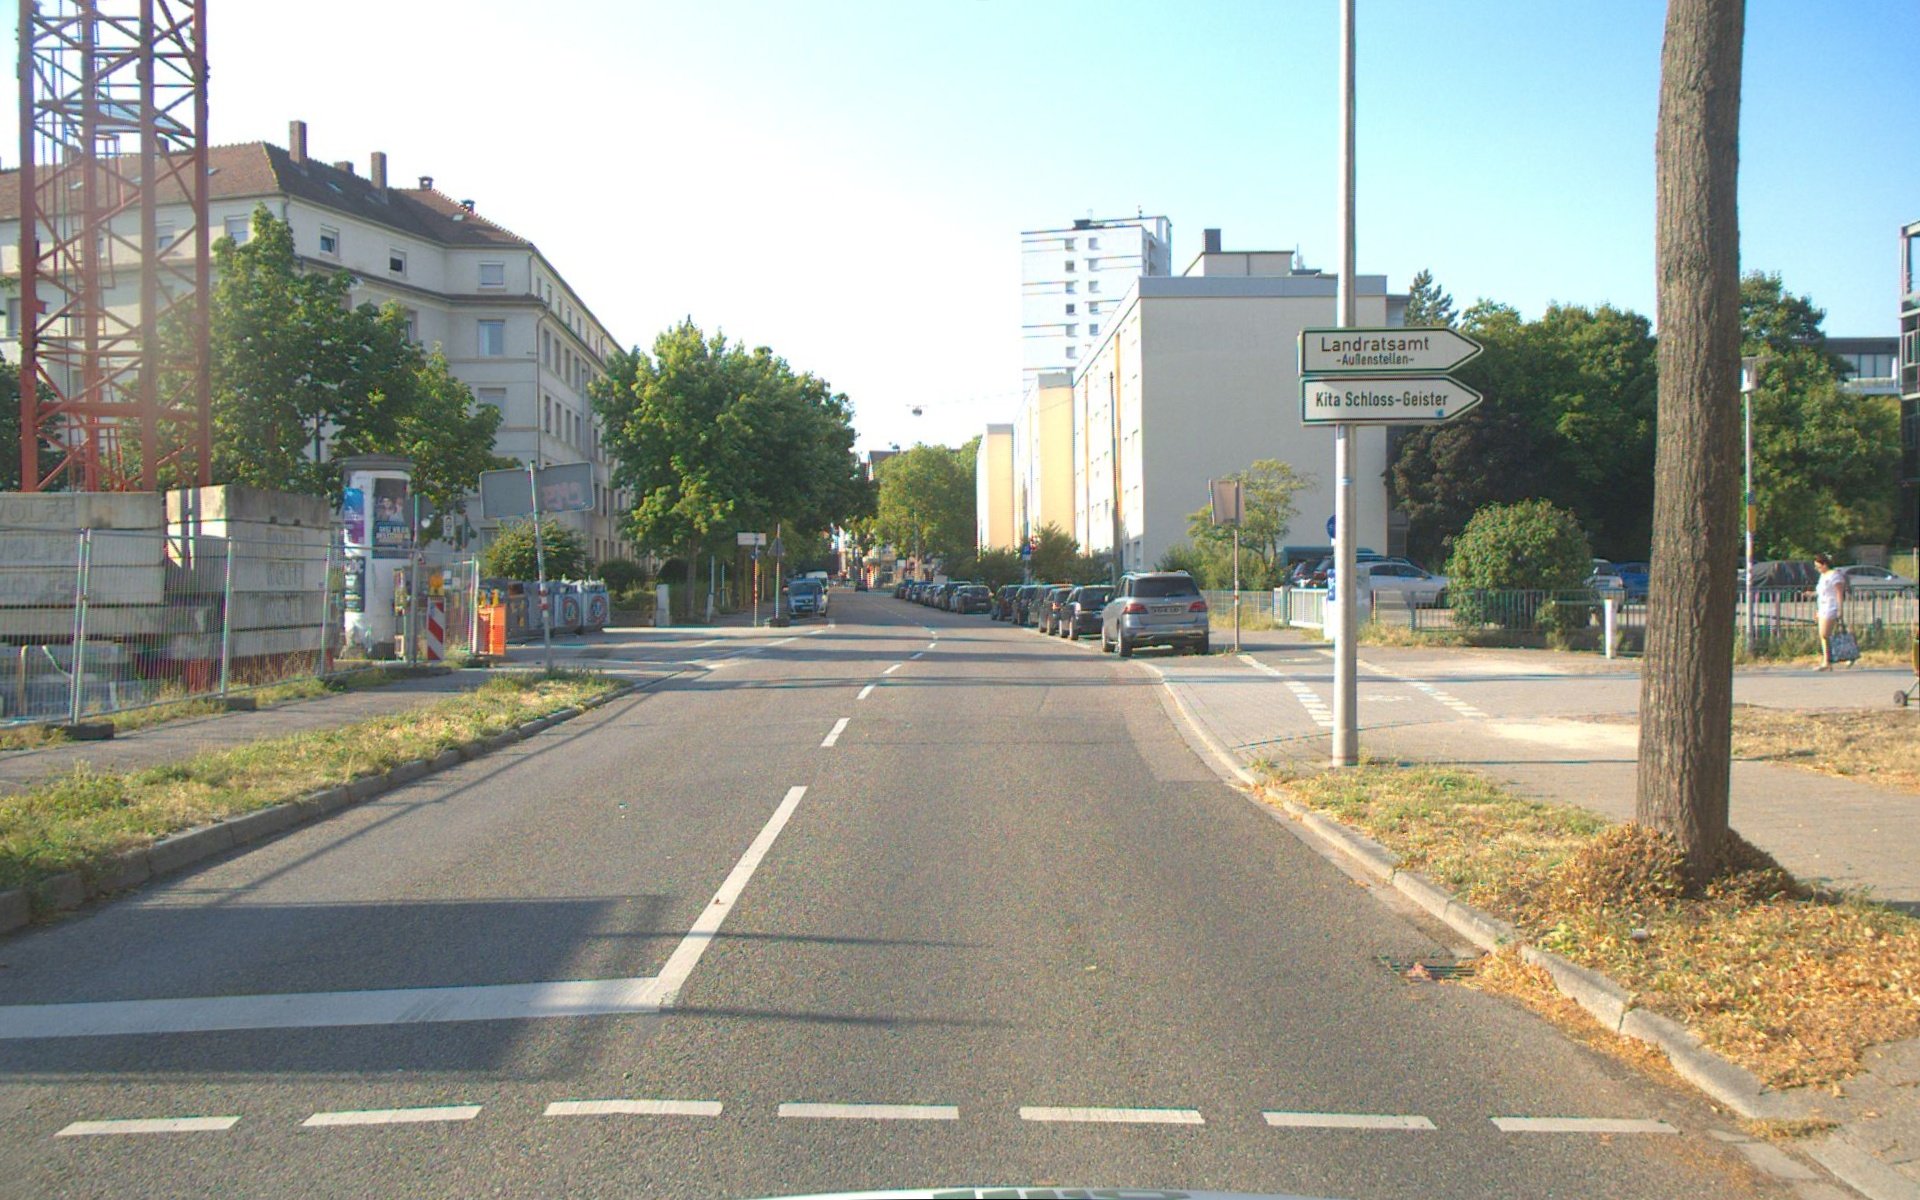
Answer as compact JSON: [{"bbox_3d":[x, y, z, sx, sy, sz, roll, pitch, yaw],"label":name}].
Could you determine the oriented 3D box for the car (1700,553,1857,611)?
[{"bbox_3d":[26.904,-0.578,54.421,4.190,1.755,1.998,2,-1,-4],"label":"car"}]

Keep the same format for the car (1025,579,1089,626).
[{"bbox_3d":[3.365,0.052,57.980,1.618,1.461,3.955,-1,2,-6],"label":"car"}]

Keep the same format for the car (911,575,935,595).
[{"bbox_3d":[-3.084,-1.223,138.191,1.801,1.528,4.169,2,-1,-4],"label":"car"}]

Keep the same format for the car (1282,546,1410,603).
[{"bbox_3d":[13.343,-0.877,57.330,3.907,1.825,1.999,2,-1,-3],"label":"car"}]

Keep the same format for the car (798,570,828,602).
[{"bbox_3d":[-12.393,-1.150,139.676,2.312,2.488,6.159,2,-1,-4],"label":"car"}]

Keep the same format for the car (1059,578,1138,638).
[{"bbox_3d":[3.911,0.237,47.325,1.707,1.567,4.437,-2,-1,-2],"label":"car"}]

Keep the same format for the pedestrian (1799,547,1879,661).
[{"bbox_3d":[12.908,0.062,24.311,0.700,1.639,0.789,2,-1,-6],"label":"pedestrian"}]

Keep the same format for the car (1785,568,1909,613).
[{"bbox_3d":[37.164,-0.371,69.350,4.190,1.755,1.998,2,-1,-4],"label":"car"}]

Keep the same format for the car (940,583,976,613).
[{"bbox_3d":[-0.150,-0.099,99.345,1.737,1.707,4.641,-1,0,-5],"label":"car"}]

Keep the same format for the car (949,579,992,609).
[{"bbox_3d":[0.535,-0.301,88.399,1.764,1.533,4.615,-1,0,-7],"label":"car"}]

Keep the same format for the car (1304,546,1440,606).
[{"bbox_3d":[13.585,-0.774,54.698,3.908,1.825,1.998,2,-1,-4],"label":"car"}]

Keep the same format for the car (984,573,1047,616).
[{"bbox_3d":[2.325,-0.195,70.592,1.851,1.588,4.939,-6,0,-6],"label":"car"}]

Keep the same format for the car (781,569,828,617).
[{"bbox_3d":[-7.041,-0.302,75.404,1.805,1.929,4.483,6,-1,-3],"label":"car"}]

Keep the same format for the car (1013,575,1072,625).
[{"bbox_3d":[3.134,0.011,63.499,1.863,1.810,4.580,2,-1,-2],"label":"car"}]

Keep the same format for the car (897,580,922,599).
[{"bbox_3d":[-4.895,-1.005,160.028,1.863,1.679,4.334,4,1,-9],"label":"car"}]

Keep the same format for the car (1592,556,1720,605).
[{"bbox_3d":[27.251,-0.759,64.827,4.190,1.755,1.998,2,-1,-4],"label":"car"}]

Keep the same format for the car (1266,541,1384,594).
[{"bbox_3d":[13.693,-1.195,62.181,3.908,1.825,1.998,2,-1,-4],"label":"car"}]

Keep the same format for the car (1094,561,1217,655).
[{"bbox_3d":[4.213,0.183,36.362,1.883,1.810,4.808,-4,0,-2],"label":"car"}]

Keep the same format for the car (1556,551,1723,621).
[{"bbox_3d":[19.313,-0.382,47.097,3.908,1.825,1.998,2,-1,-4],"label":"car"}]

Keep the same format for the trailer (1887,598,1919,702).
[{"bbox_3d":[10.299,0.527,17.323,0.472,1.085,1.267,1,-1,1],"label":"trailer"}]

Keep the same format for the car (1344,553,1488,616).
[{"bbox_3d":[14.316,-0.471,52.096,3.908,1.825,1.998,2,-1,-4],"label":"car"}]

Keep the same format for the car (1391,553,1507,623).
[{"bbox_3d":[12.532,-0.276,42.596,1.620,1.691,3.998,2,-1,-3],"label":"car"}]

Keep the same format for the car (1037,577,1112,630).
[{"bbox_3d":[3.626,0.126,53.186,1.863,1.556,4.808,2,-1,-2],"label":"car"}]
